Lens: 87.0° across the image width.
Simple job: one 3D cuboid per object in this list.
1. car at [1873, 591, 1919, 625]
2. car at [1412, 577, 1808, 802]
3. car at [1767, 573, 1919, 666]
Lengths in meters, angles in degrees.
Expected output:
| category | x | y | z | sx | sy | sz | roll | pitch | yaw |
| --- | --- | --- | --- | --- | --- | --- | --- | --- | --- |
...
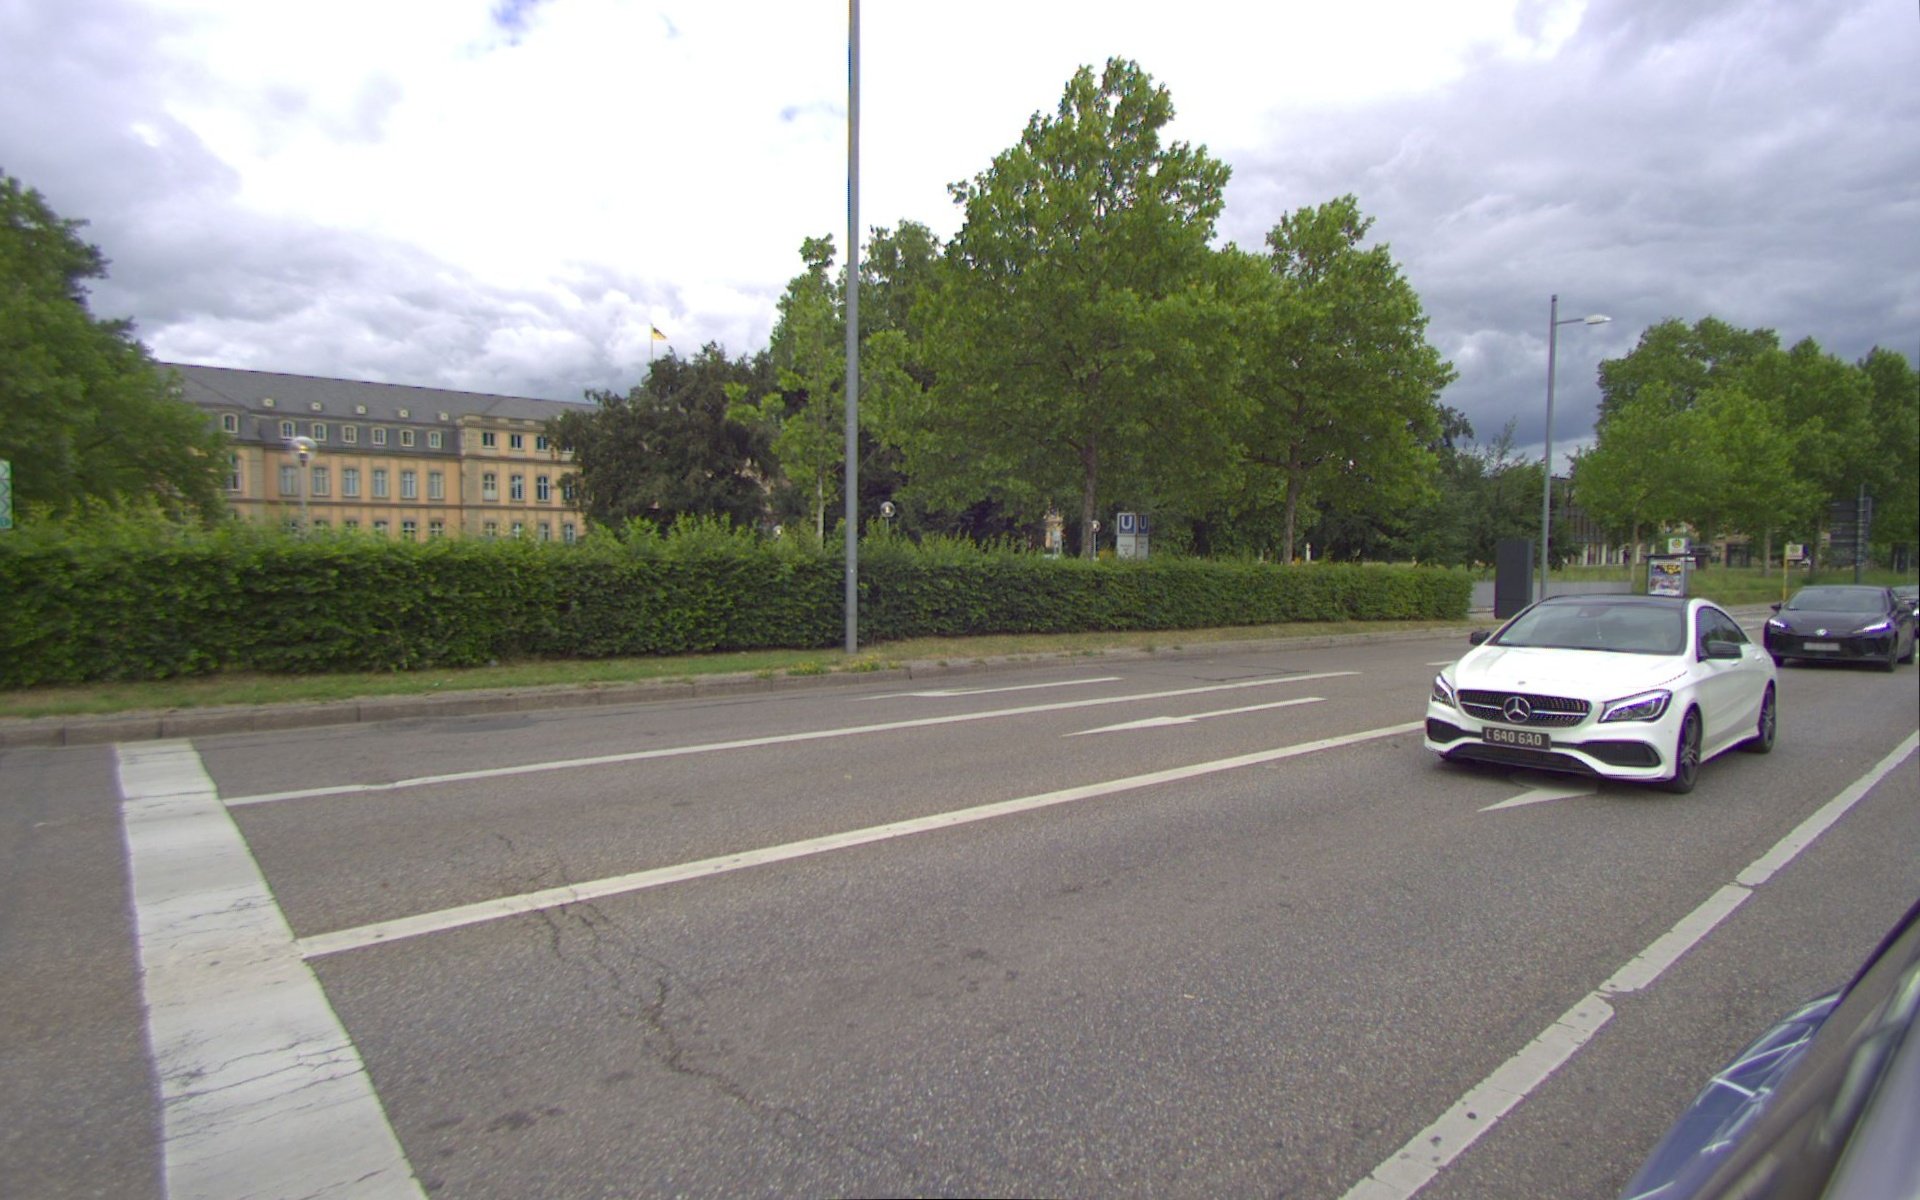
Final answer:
| category | x | y | z | sx | sy | sz | roll | pitch | yaw |
| --- | --- | --- | --- | --- | --- | --- | --- | --- | --- |
| car | 44.132 | 0.338 | 47.178 | 3.930 | 1.438 | 1.866 | -1 | 1 | -40 |
| car | 5.801 | 0.547 | 8.793 | 4.428 | 1.441 | 1.722 | -2 | 2 | -41 |
| car | 16.649 | 0.292 | 18.839 | 4.048 | 1.543 | 1.828 | -1 | 1 | -41 |
